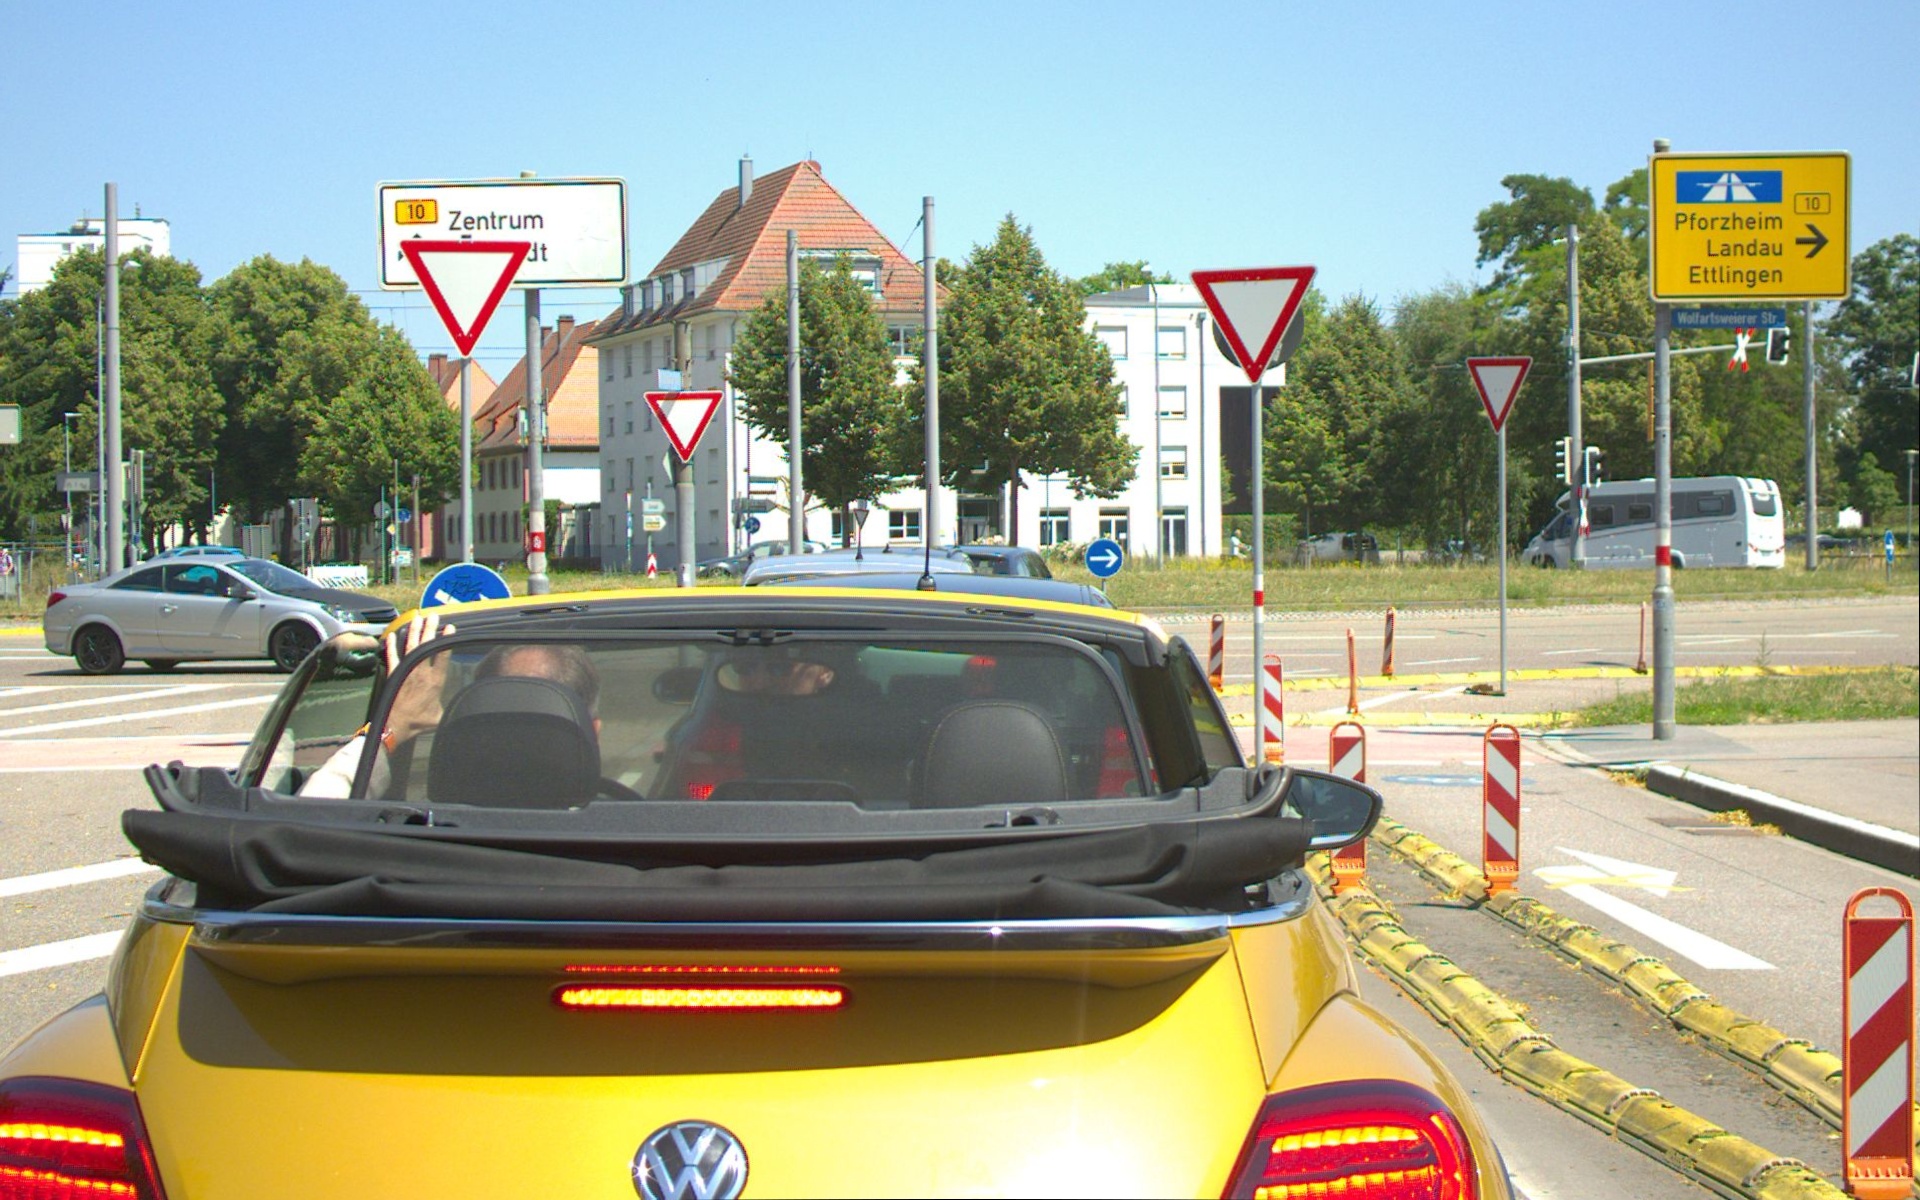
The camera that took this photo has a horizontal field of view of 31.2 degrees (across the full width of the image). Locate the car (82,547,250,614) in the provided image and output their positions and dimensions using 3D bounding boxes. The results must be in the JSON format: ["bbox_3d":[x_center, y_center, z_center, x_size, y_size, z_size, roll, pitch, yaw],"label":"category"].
[{"bbox_3d":[-21.508,-0.532,93.182,3.989,1.766,1.875,0,1,-42],"label":"car"}]

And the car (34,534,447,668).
[{"bbox_3d":[-8.605,0.000,41.255,4.408,1.522,1.999,-1,1,14],"label":"car"}]

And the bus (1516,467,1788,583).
[{"bbox_3d":[19.490,-2.115,97.124,7.269,3.161,2.256,1,1,38],"label":"bus"}]

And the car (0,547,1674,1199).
[{"bbox_3d":[-0.304,0.678,5.079,1.765,1.476,4.258,1,1,-1],"label":"car"}]

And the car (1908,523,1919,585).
[{"bbox_3d":[28.965,-1.257,96.067,1.843,1.730,4.442,0,1,-42],"label":"car"}]

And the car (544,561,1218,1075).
[{"bbox_3d":[-0.242,0.582,11.682,1.851,1.361,4.258,-1,1,-1],"label":"car"}]

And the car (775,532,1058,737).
[{"bbox_3d":[-0.346,0.206,27.600,2.065,1.476,4.543,-1,1,-1],"label":"car"}]

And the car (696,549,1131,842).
[{"bbox_3d":[-0.247,0.439,18.616,2.065,1.377,4.258,1,1,-1],"label":"car"}]
